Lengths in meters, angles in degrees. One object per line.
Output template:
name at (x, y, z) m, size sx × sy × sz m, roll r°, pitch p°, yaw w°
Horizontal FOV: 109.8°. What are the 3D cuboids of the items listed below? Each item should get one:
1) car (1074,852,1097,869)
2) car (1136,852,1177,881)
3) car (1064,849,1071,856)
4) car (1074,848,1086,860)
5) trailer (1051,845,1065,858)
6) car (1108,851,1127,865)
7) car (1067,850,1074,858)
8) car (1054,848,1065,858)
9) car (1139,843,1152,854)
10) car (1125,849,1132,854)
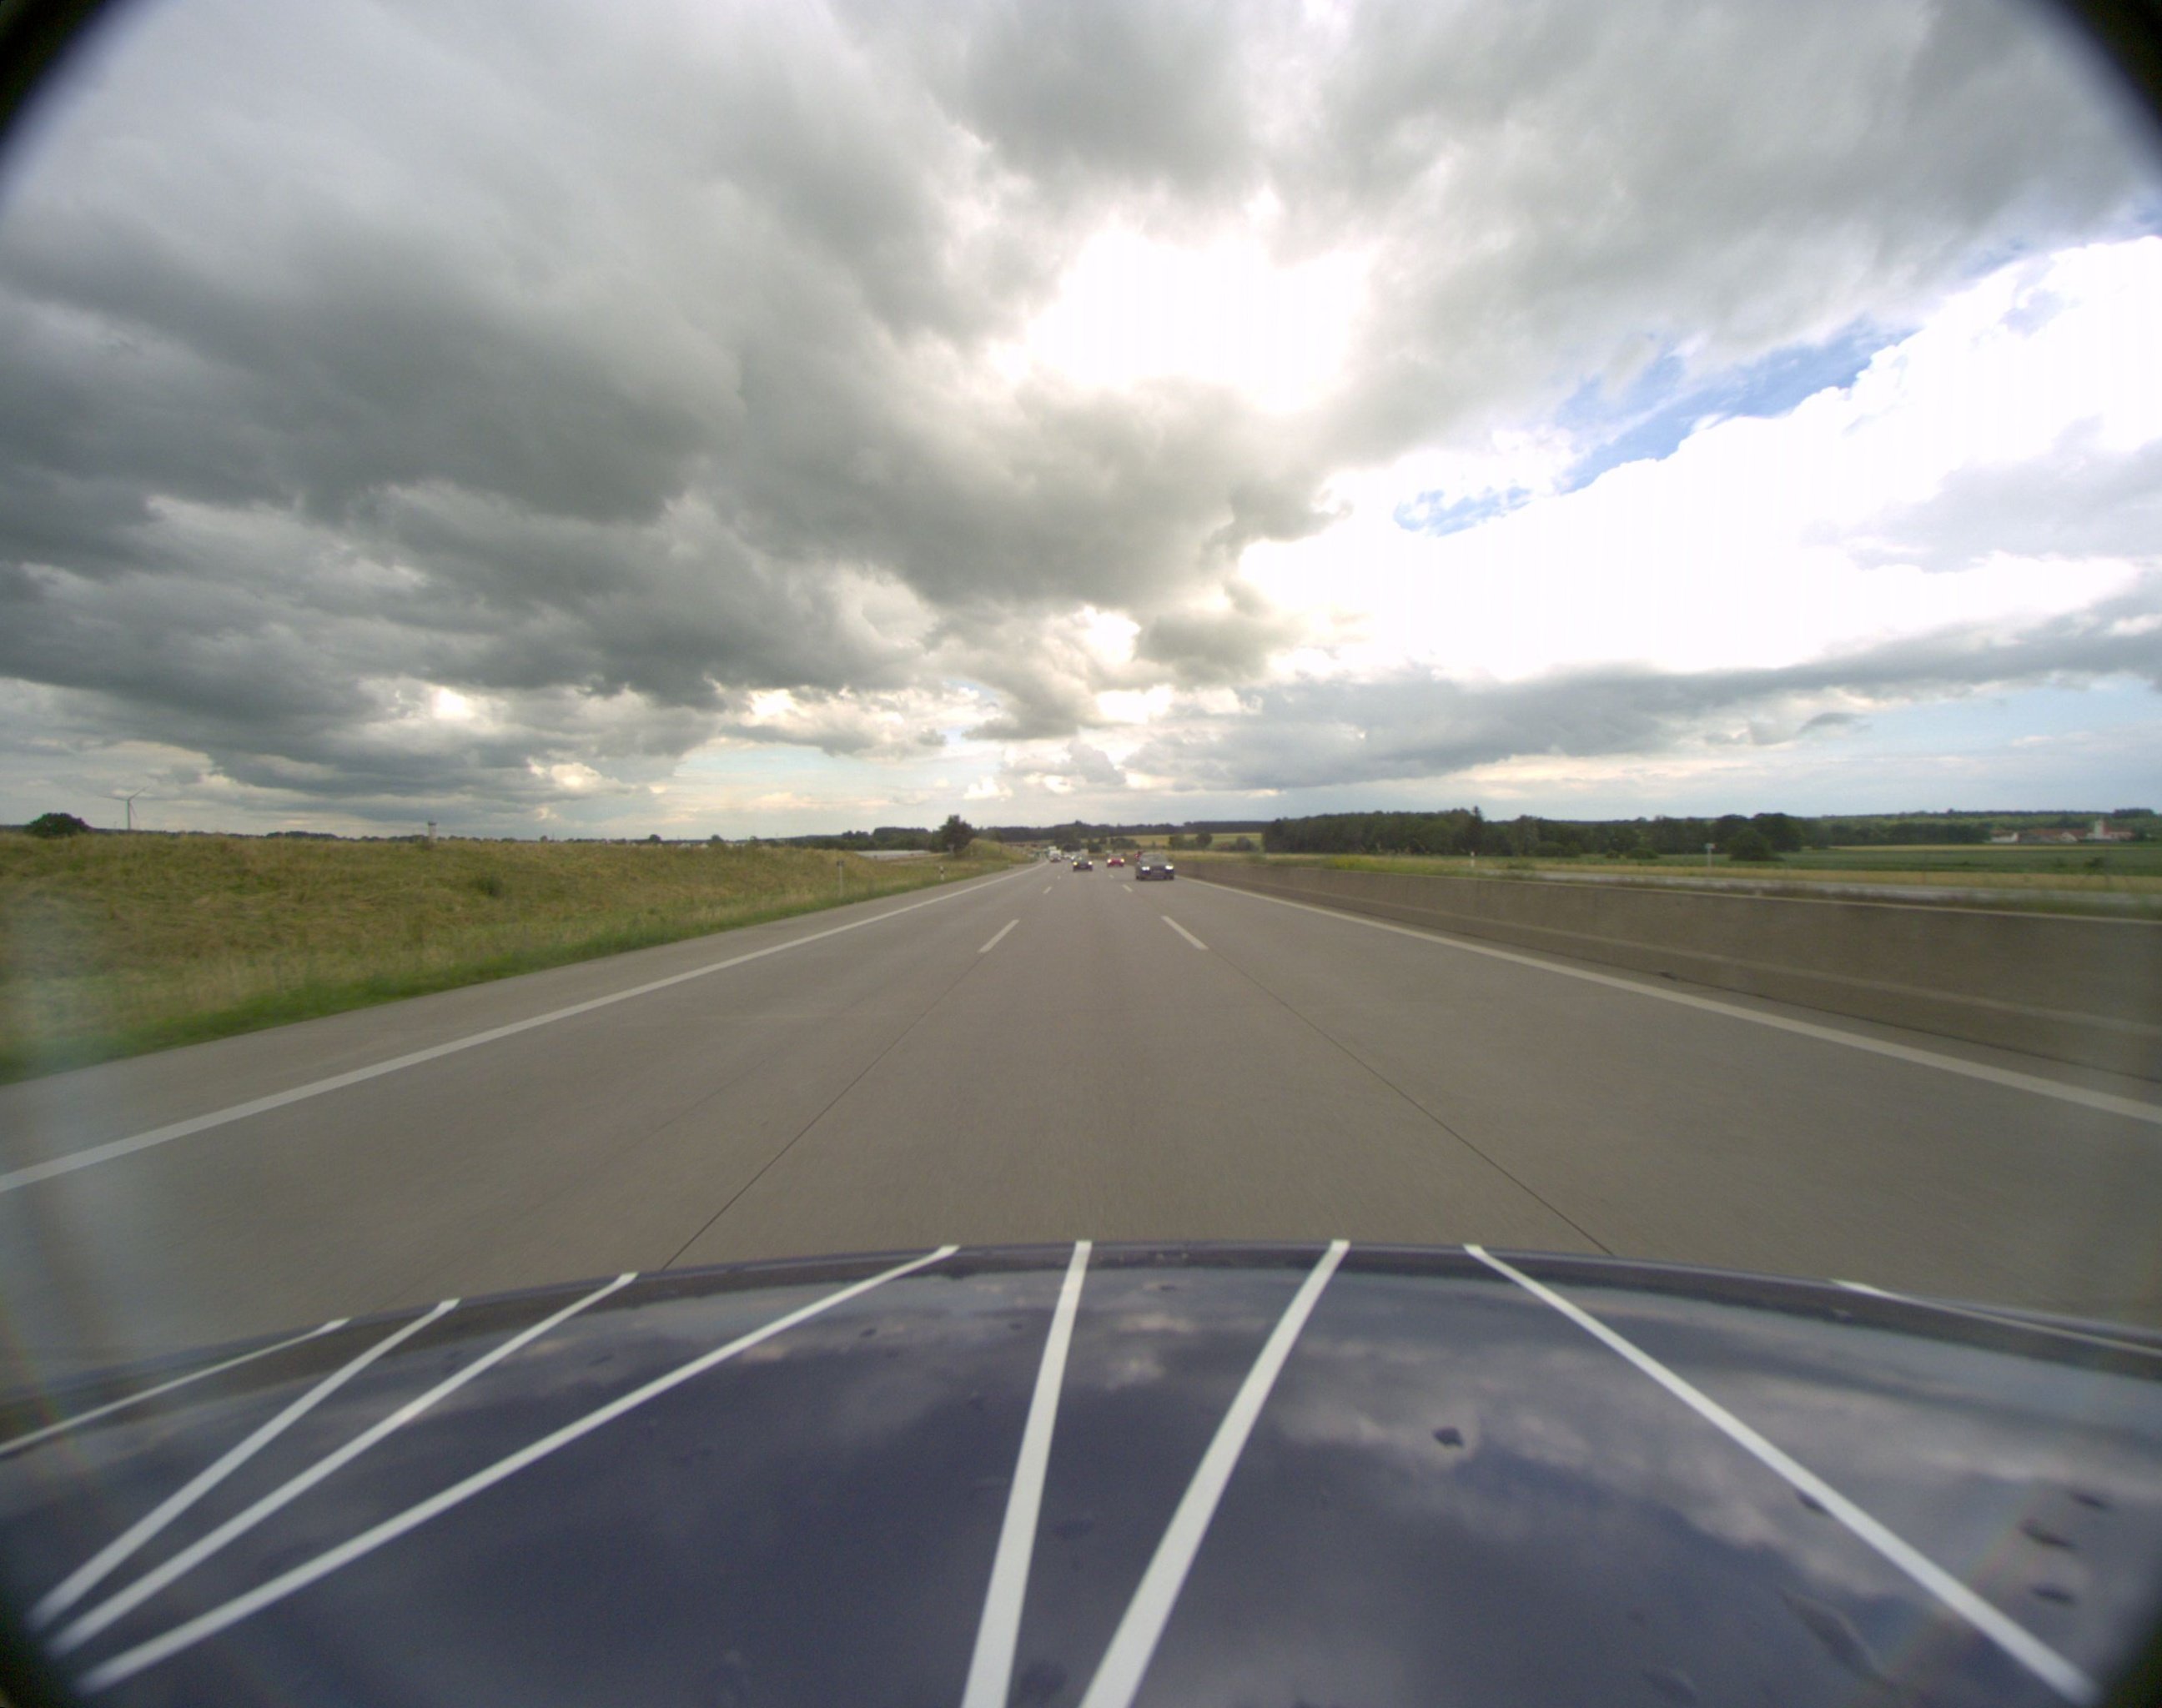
car at (0.382, 0.554, 68.930) m, size 1.691 × 1.405 × 3.998 m, roll -2°, pitch 1°, yaw -5°
car at (4.096, 0.633, 41.802) m, size 1.939 × 1.464 × 4.000 m, roll -2°, pitch 0°, yaw 1°
car at (-4.210, -0.593, 243.438) m, size 1.999 × 2.002 × 3.998 m, roll -2°, pitch 1°, yaw -4°
car at (-0.206, 0.001, 142.023) m, size 1.999 × 2.002 × 3.999 m, roll -2°, pitch 0°, yaw -1°
trailer at (-4.815, -0.555, 159.264) m, size 2.616 × 2.519 × 6.717 m, roll -2°, pitch 1°, yaw -5°
car at (4.009, 0.454, 83.620) m, size 1.822 × 1.364 × 3.782 m, roll -3°, pitch 1°, yaw 0°
car at (-2.917, 0.051, 212.675) m, size 1.810 × 2.002 × 3.840 m, roll -3°, pitch 1°, yaw -4°
car at (-4.364, -0.200, 153.412) m, size 1.945 × 1.799 × 5.029 m, roll -2°, pitch 1°, yaw -5°
car at (12.243, -1.042, 145.103) m, size 1.999 × 2.002 × 4.630 m, roll -2°, pitch 0°, yaw 0°
car at (15.636, -0.781, 250.412) m, size 1.753 × 1.631 × 4.943 m, roll -2°, pitch 0°, yaw -1°
